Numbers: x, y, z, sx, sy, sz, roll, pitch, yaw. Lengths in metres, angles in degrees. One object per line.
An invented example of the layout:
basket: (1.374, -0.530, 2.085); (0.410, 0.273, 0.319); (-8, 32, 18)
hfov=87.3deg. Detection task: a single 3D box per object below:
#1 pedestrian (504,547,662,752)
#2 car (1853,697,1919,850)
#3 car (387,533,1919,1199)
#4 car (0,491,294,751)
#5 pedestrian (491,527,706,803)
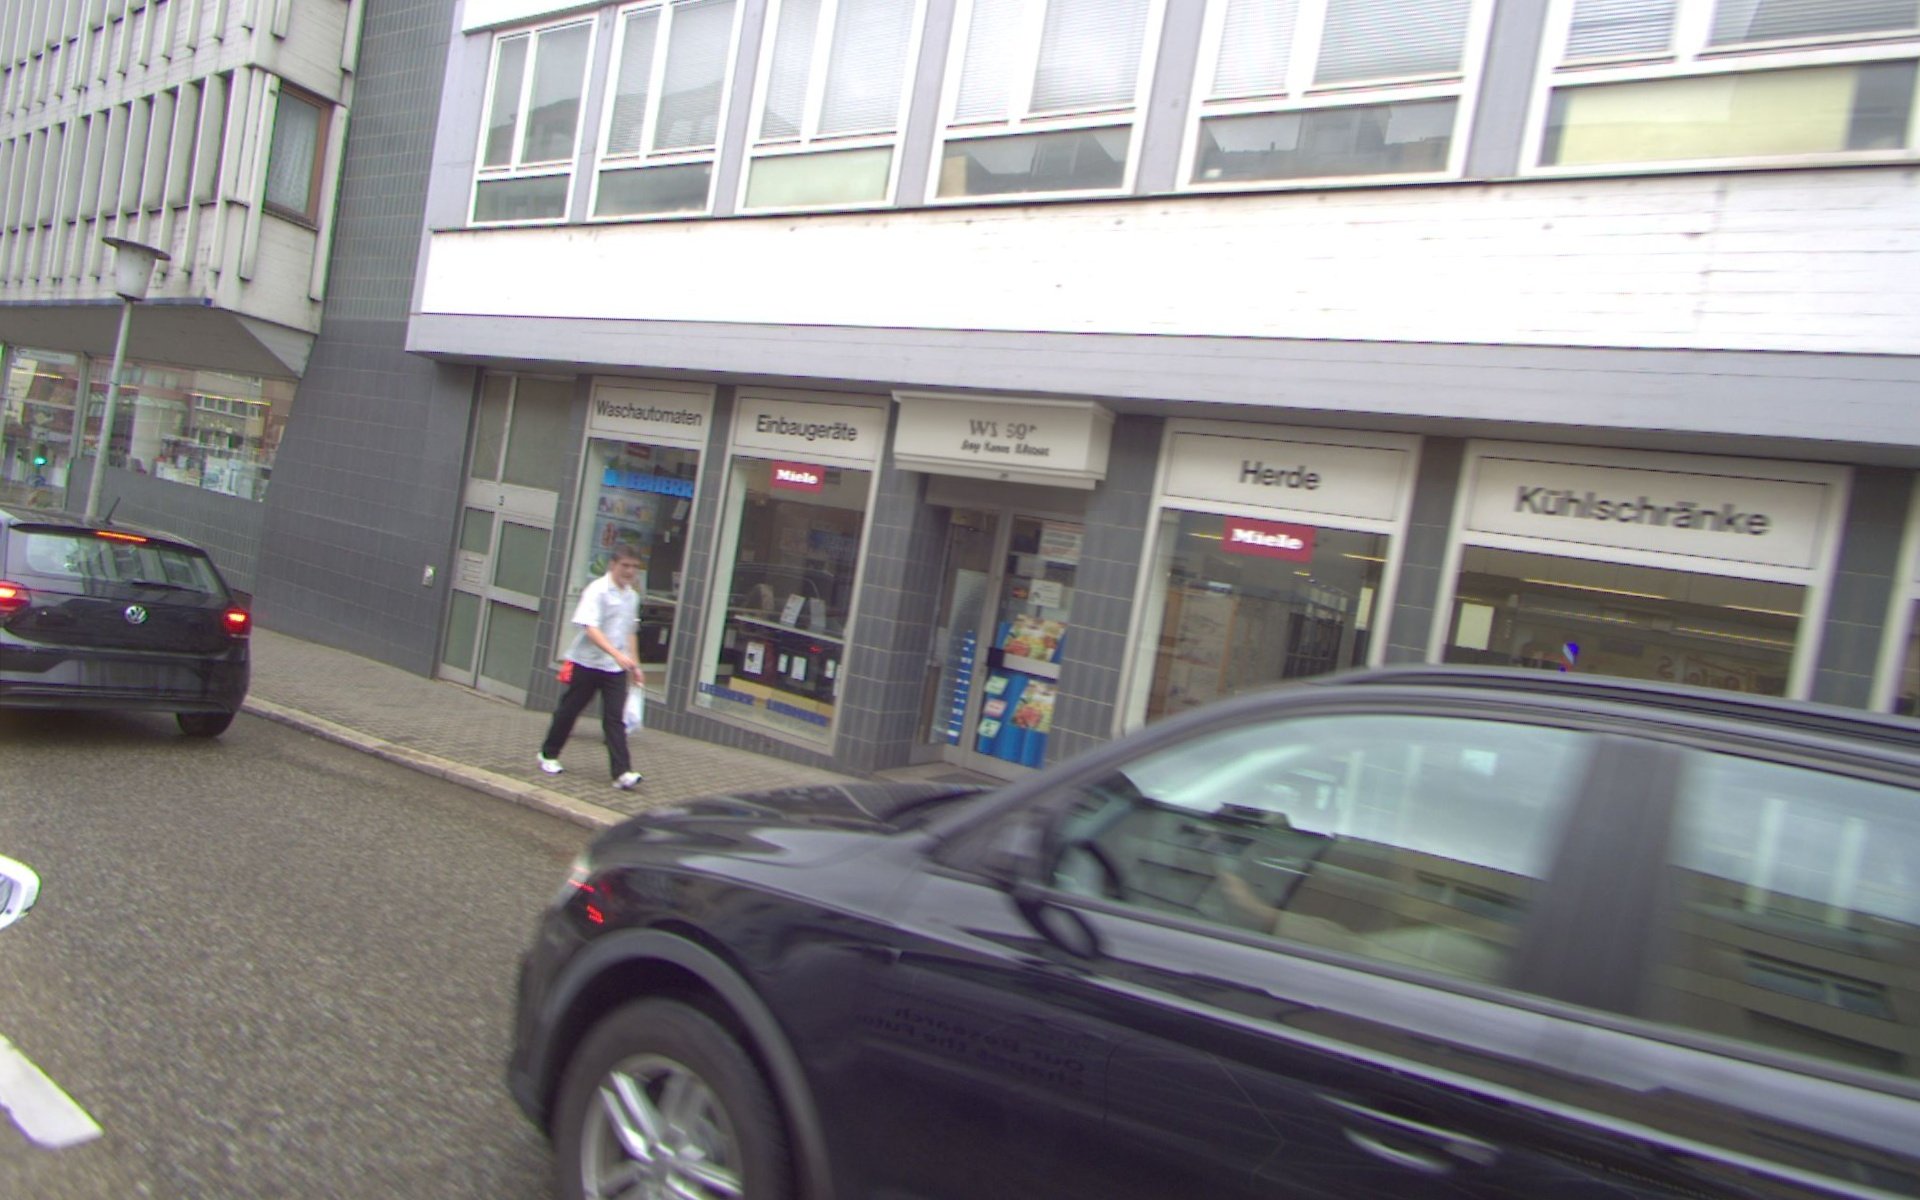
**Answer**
pedestrian: (-3.181, 0.395, 8.504); (0.875, 1.572, 0.766); (7, 3, 28)
car: (14.352, 2.519, 12.907); (3.884, 1.934, 1.790); (7, 0, 32)
car: (0.961, 0.939, 2.143); (4.130, 1.577, 1.828); (7, -3, 31)
car: (-6.906, -0.006, 7.333); (3.932, 1.493, 1.694); (7, -3, 30)
pedestrian: (-2.557, 0.420, 7.135); (1.101, 1.728, 0.784); (7, 3, 28)
